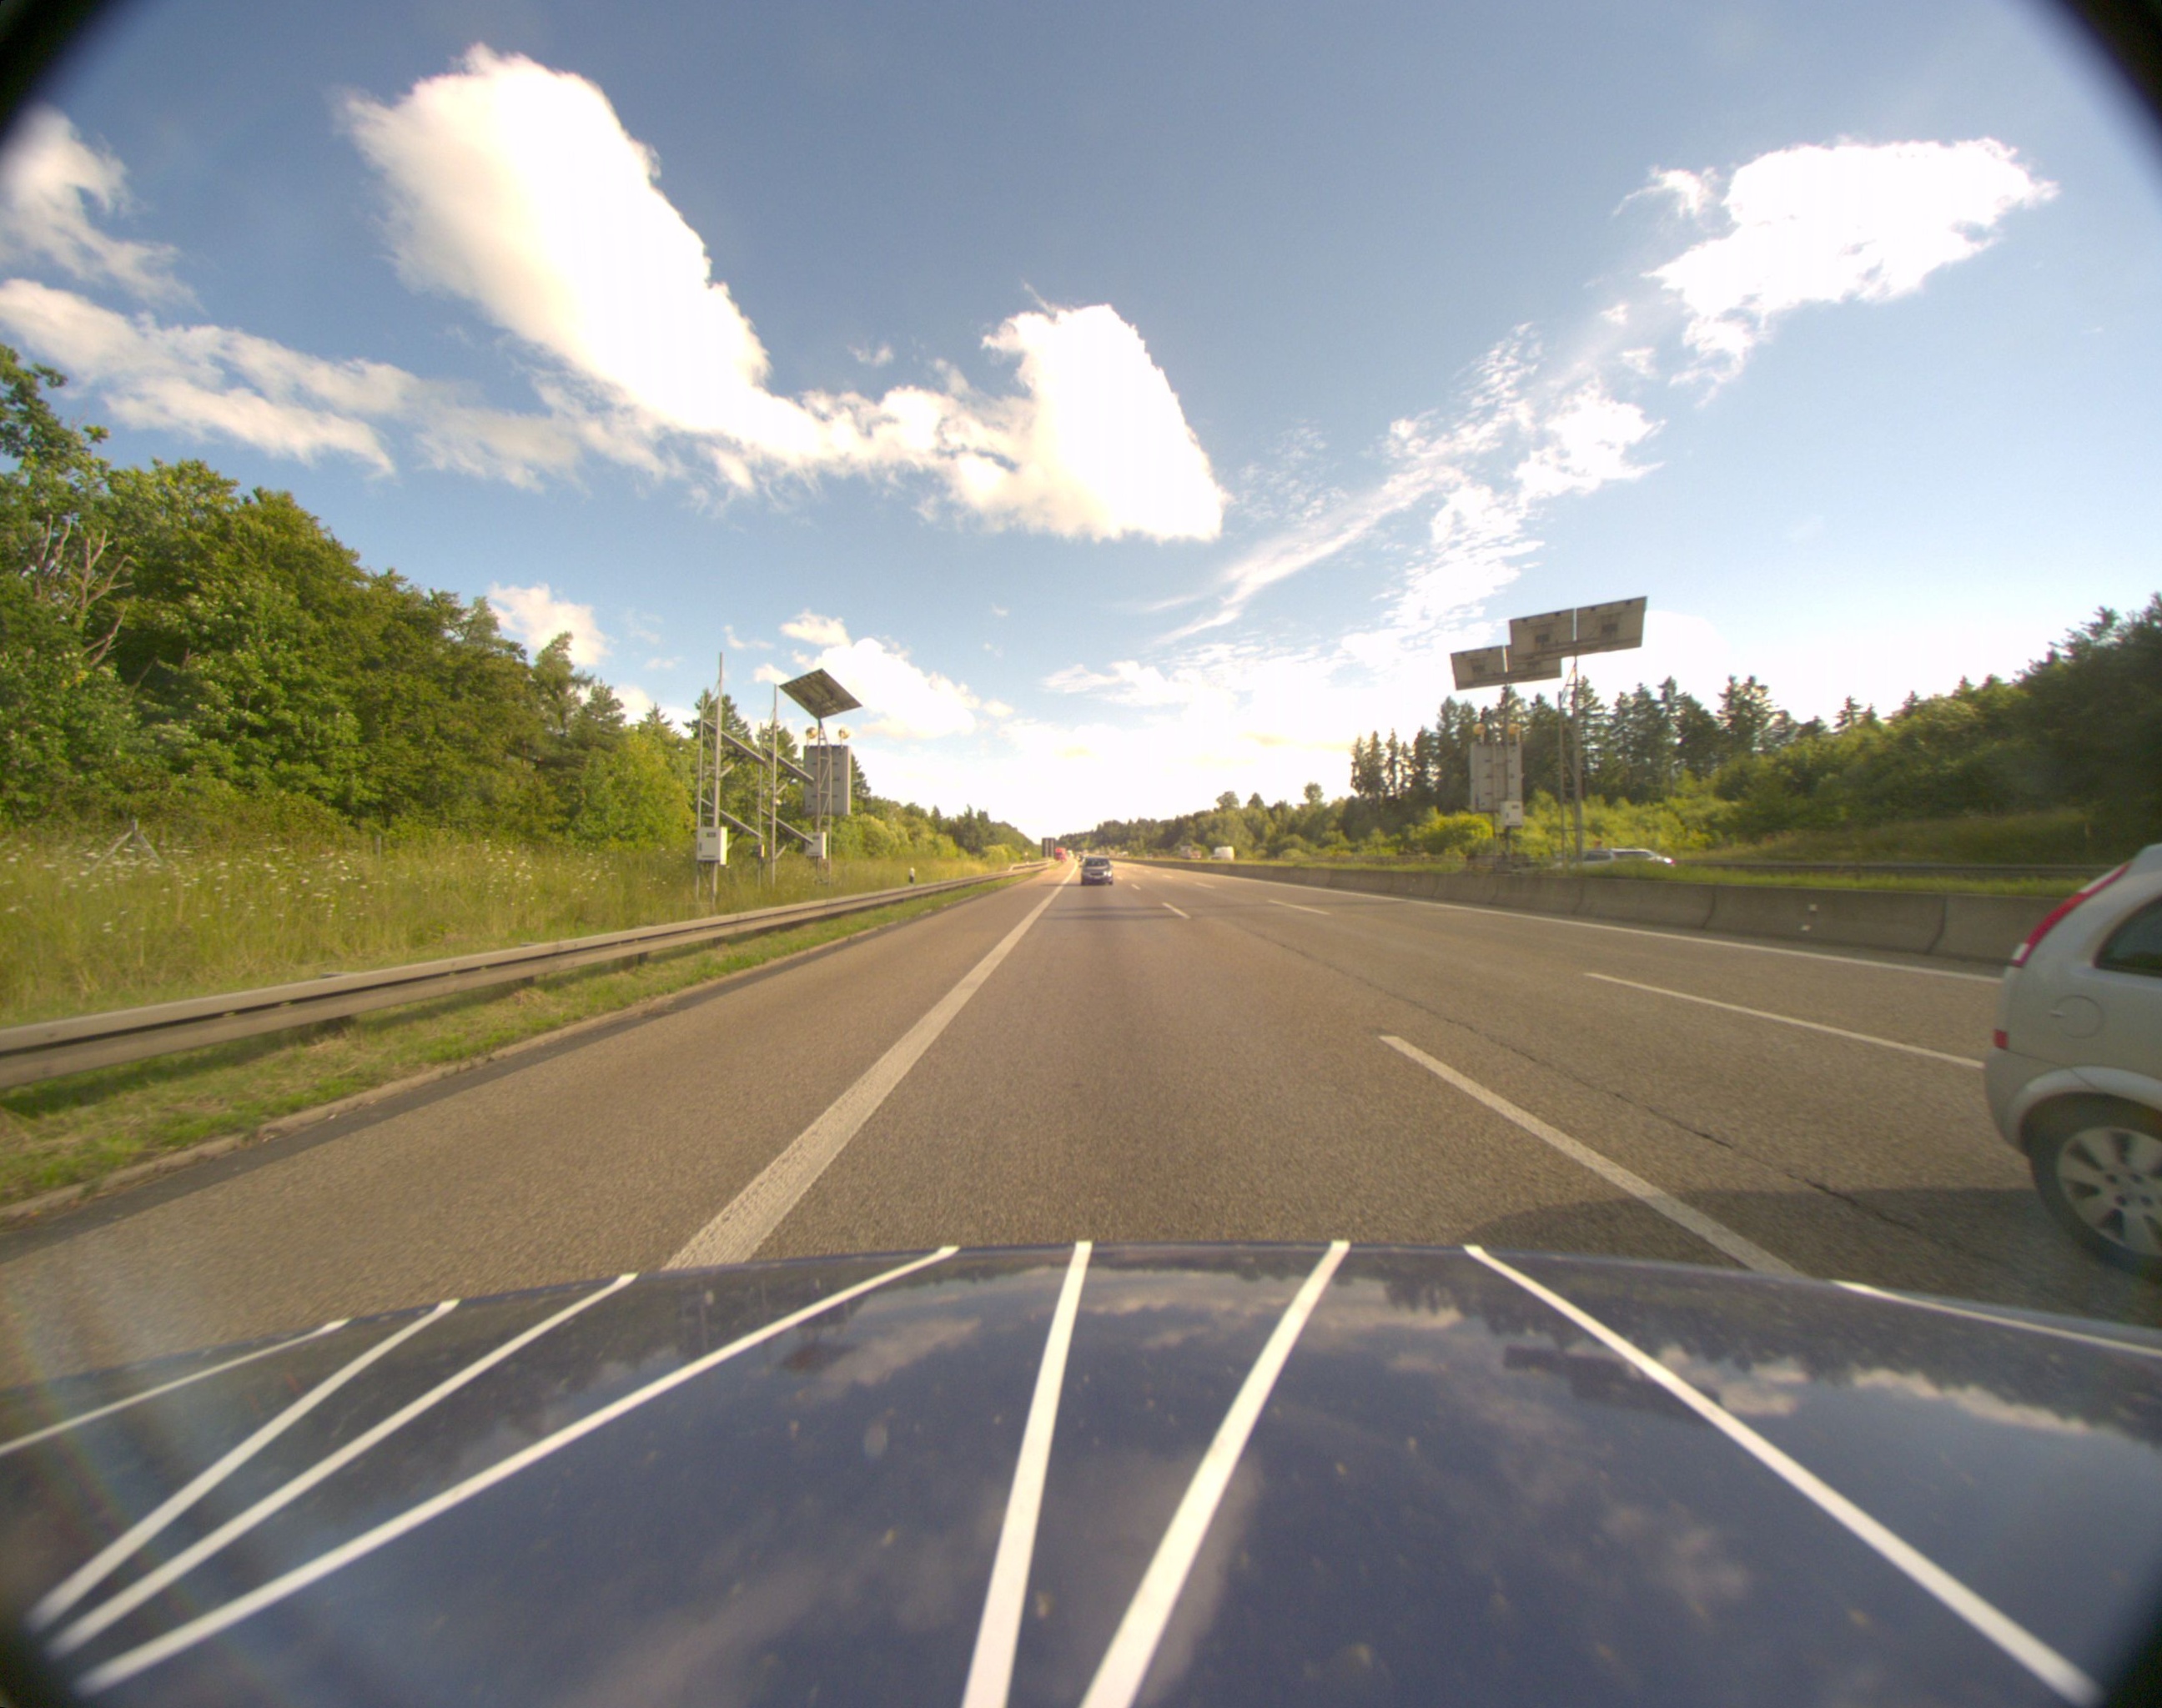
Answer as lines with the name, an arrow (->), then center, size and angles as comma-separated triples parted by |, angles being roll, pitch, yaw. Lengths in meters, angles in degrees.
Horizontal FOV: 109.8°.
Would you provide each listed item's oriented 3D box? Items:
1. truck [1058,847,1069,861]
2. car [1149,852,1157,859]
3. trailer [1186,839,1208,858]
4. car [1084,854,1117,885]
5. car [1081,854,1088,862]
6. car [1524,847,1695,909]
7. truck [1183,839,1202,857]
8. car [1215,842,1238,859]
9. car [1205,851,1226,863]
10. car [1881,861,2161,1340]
truck -> -5.045, -0.051, 217.835 | 2.880, 3.871, 8.958 | -2, 0, 1
car -> 21.135, 0.478, 223.086 | 1.998, 2.002, 4.859 | -1, 0, 1
trailer -> 24.912, -1.230, 163.710 | 3.132, 3.815, 12.209 | -1, 0, 1
car -> 1.089, 0.811, 42.498 | 1.742, 1.608, 4.083 | -1, 0, 1
car -> 1.089, 1.162, 222.917 | 1.998, 2.124, 4.000 | -1, 0, 1
car -> 20.286, 0.837, 29.630 | 2.585, 2.126, 5.966 | -1, 0, 1
truck -> 25.001, -1.264, 170.877 | 3.122, 3.815, 7.123 | -1, 0, 1
car -> 20.942, -0.522, 109.814 | 2.114, 2.299, 6.724 | -1, 0, 1
car -> 16.956, 0.421, 96.095 | 1.998, 1.444, 4.000 | -1, 0, 1
car -> 4.369, 0.796, 1.129 | 1.840, 1.508, 4.333 | -1, 0, 1
